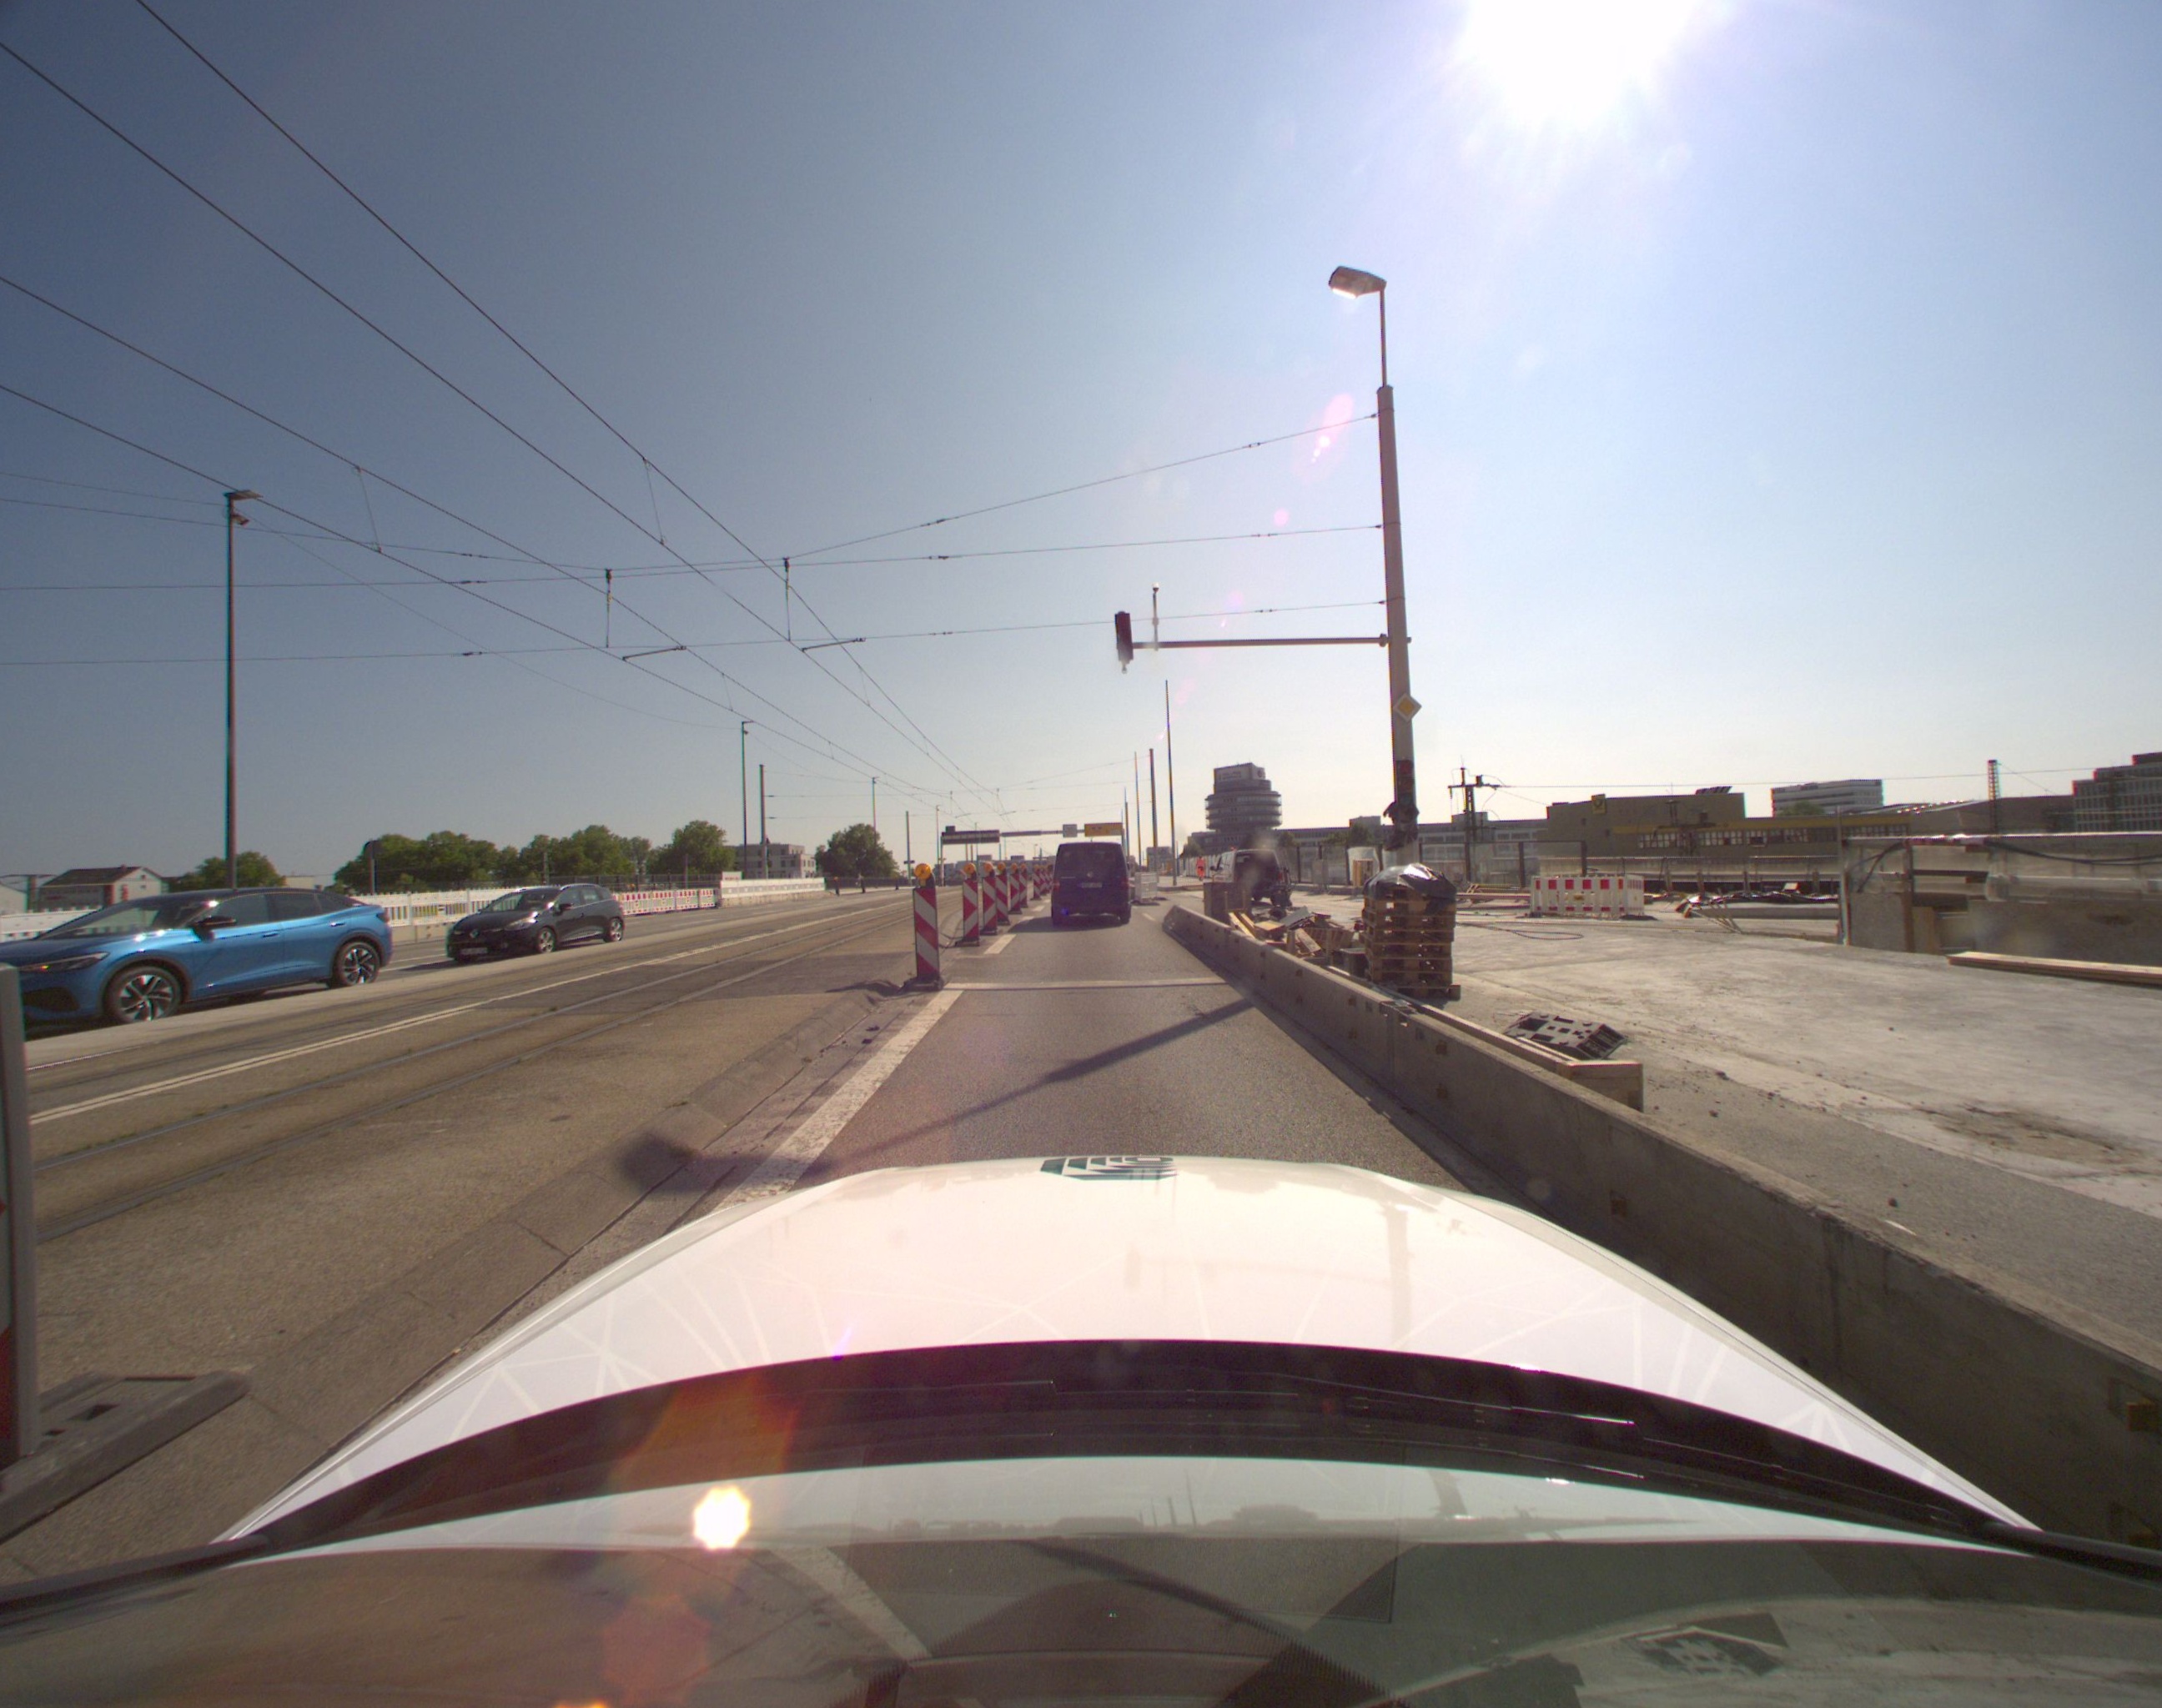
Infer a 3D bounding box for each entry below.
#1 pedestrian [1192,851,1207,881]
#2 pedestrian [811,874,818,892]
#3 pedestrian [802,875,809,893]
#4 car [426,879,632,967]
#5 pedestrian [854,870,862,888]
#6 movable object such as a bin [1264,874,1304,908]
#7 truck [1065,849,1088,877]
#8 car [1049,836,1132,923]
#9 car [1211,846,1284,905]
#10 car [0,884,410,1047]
[{"bbox_3d":[7.953,0.795,54.795,0.779,1.935,0.799,-3,-2,0],"label":"pedestrian"},{"bbox_3d":[-25.504,2.789,77.844,0.493,1.694,0.474,-1,-2,0],"label":"pedestrian"},{"bbox_3d":[-26.320,2.830,77.826,0.493,1.694,0.474,-1,-2,0],"label":"pedestrian"},{"bbox_3d":[-11.679,1.378,17.615,1.500,1.500,4.177,-4,-1,0],"label":"car"},{"bbox_3d":[-23.834,2.652,87.005,0.632,1.893,0.752,-1,-1,0],"label":"pedestrian"},{"bbox_3d":[6.736,1.203,26.982,0.896,1.074,0.930,0,-1,-44],"label":"movable object such as a bin"},{"bbox_3d":[-0.466,1.061,97.649,2.452,3.134,11.214,-2,0,0],"label":"truck"},{"bbox_3d":[0.266,0.587,20.497,1.809,1.905,4.055,-2,0,1],"label":"car"},{"bbox_3d":[6.199,0.794,30.851,1.872,2.033,4.892,-1,-1,1],"label":"car"},{"bbox_3d":[-11.660,1.289,10.811,1.664,1.550,4.554,-3,-1,0],"label":"car"}]
